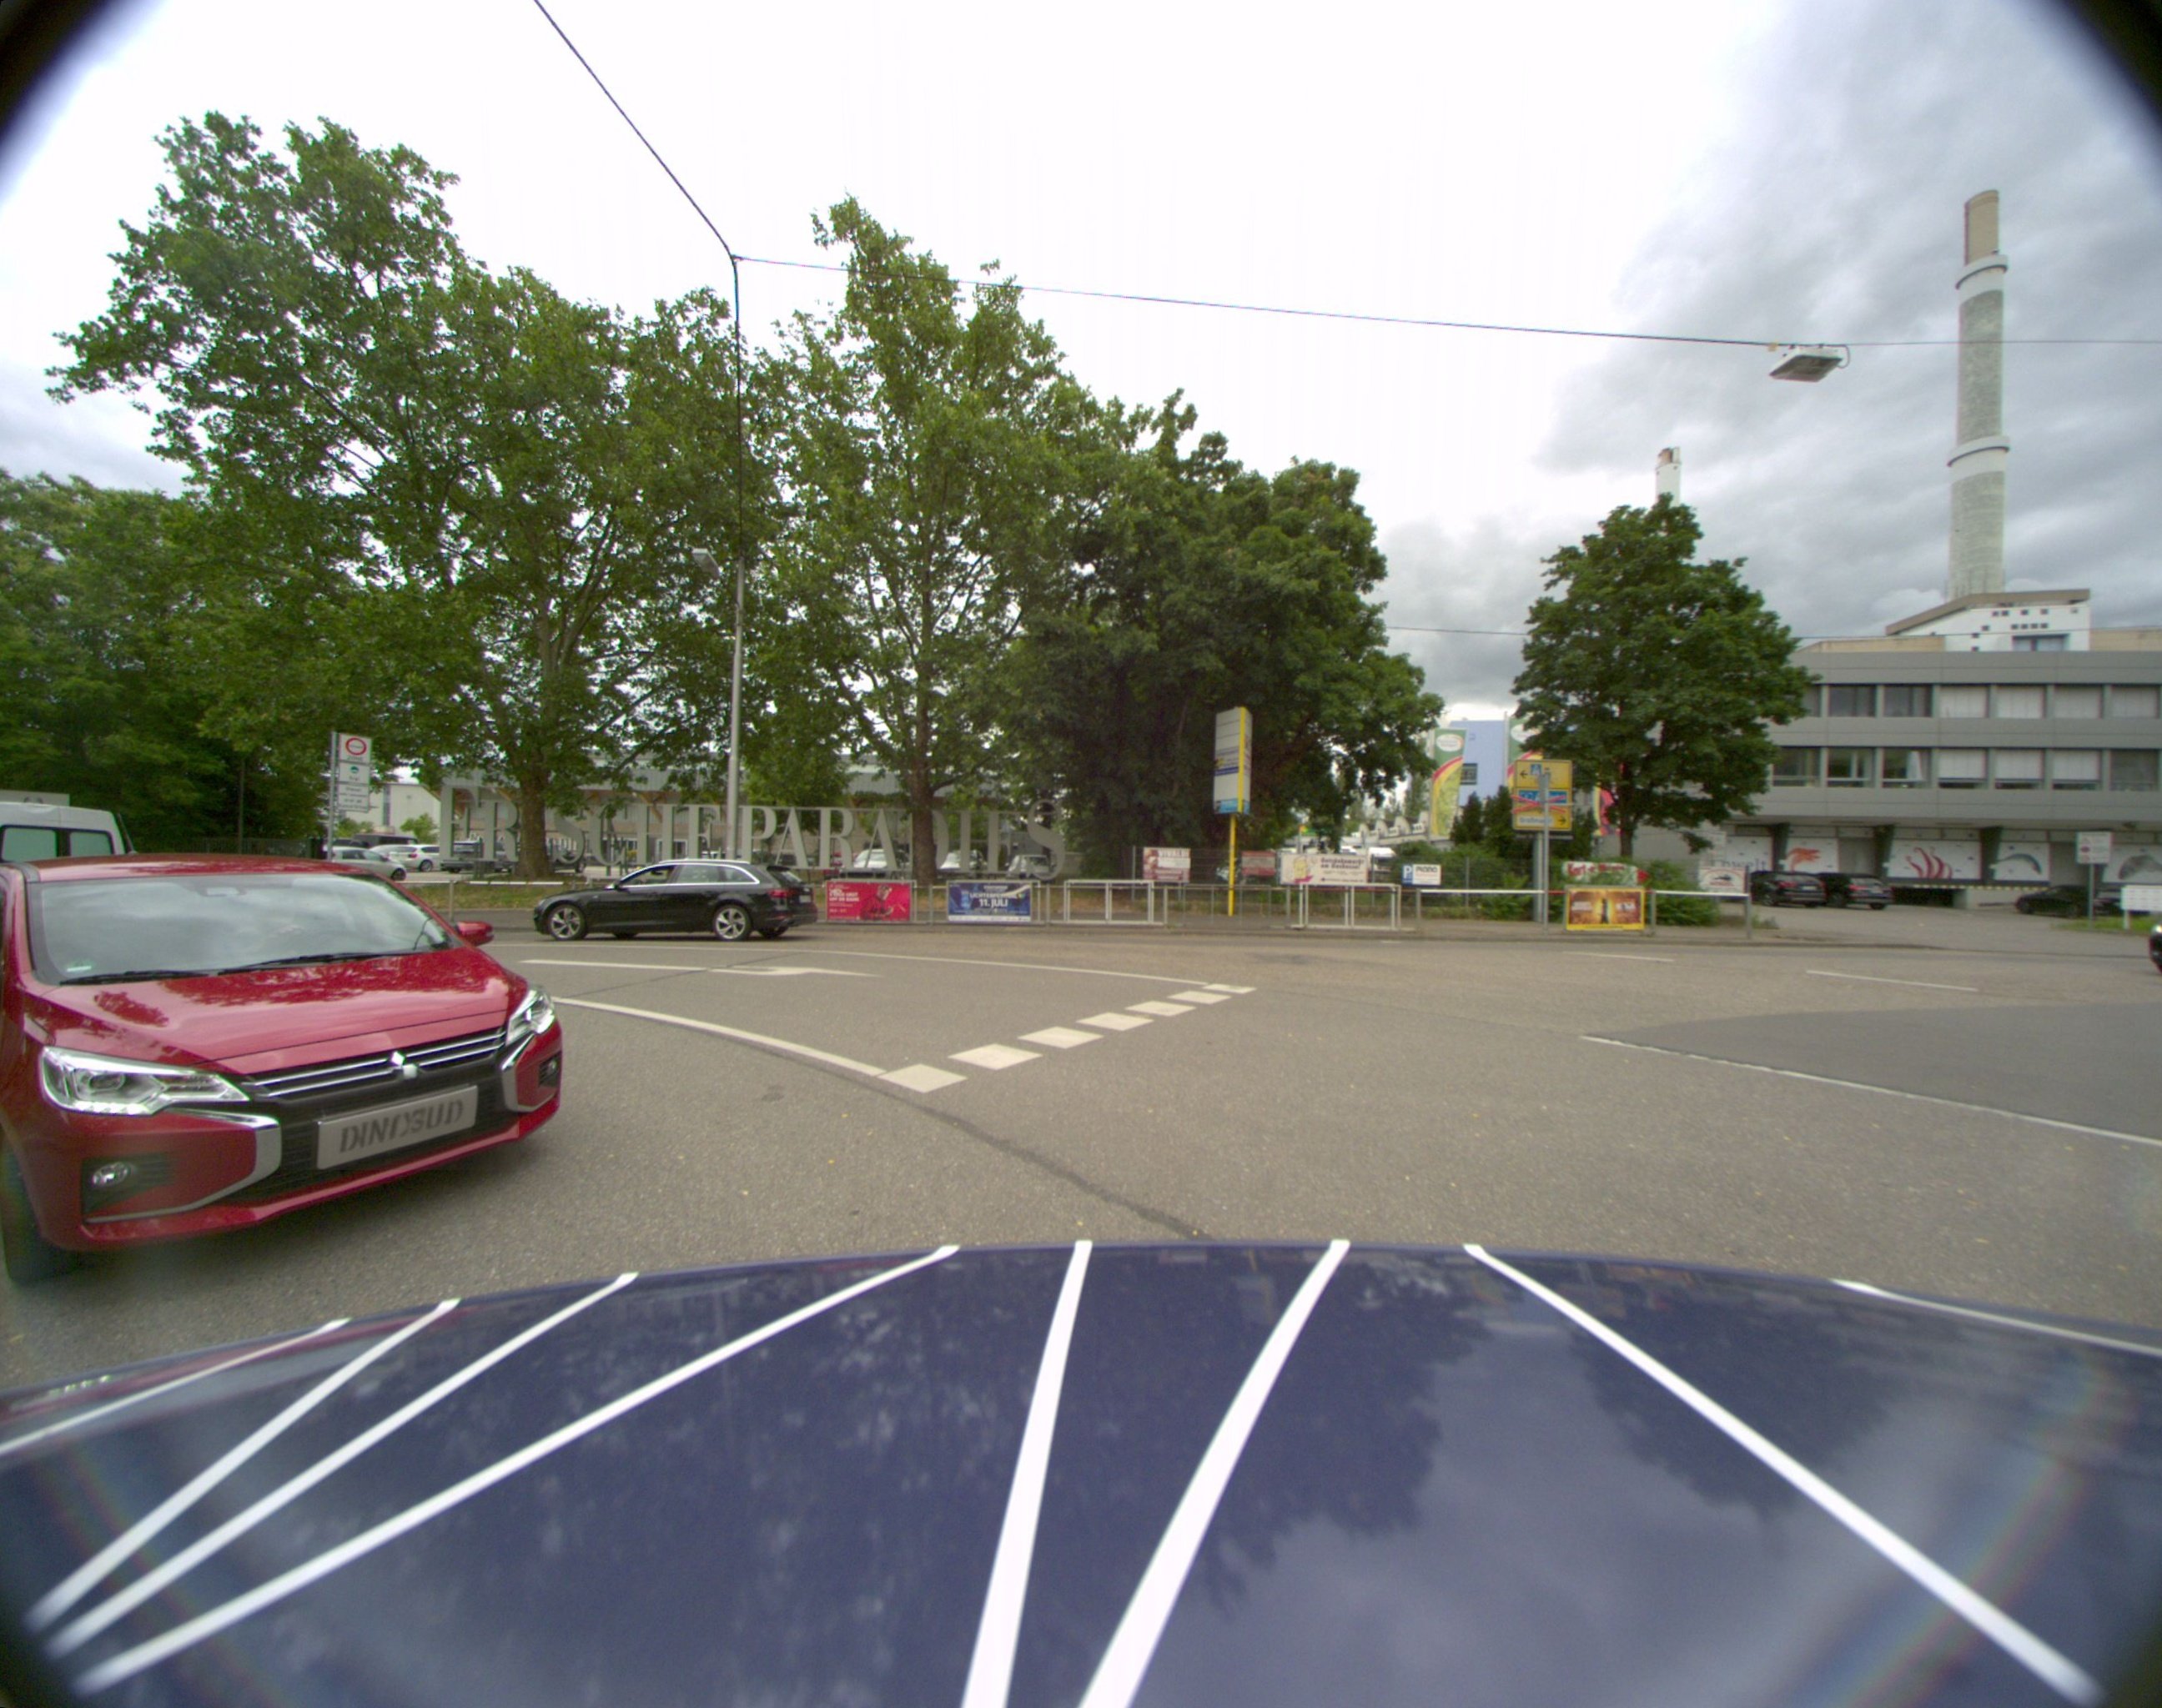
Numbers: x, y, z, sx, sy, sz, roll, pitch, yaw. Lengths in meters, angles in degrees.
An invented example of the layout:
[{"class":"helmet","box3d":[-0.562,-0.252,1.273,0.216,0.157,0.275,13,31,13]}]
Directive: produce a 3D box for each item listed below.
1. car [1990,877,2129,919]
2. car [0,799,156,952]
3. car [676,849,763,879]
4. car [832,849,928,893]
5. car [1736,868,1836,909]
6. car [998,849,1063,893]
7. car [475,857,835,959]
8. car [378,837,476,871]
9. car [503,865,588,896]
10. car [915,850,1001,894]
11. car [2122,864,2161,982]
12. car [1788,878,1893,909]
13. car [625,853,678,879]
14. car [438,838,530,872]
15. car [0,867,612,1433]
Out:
[{"class":"car","box3d":[42.979,1.879,33.509,1.747,1.543,3.612,-2,1,9]},{"class":"car","box3d":[-21.077,0.467,13.595,6.477,2.527,2.193,-2,1,3]},{"class":"car","box3d":[-19.431,0.472,41.125,1.937,1.423,5.252,-2,1,3]},{"class":"car","box3d":[-7.700,0.588,29.595,1.998,1.449,4.701,-2,1,6]},{"class":"car","box3d":[33.303,1.615,36.042,1.775,1.669,3.574,-2,1,9]},{"class":"car","box3d":[-1.854,0.589,29.477,1.998,1.449,4.700,-2,1,2]},{"class":"car","box3d":[-7.373,0.901,13.588,5.218,1.449,2.000,-2,1,0]},{"class":"car","box3d":[-35.288,0.008,41.154,1.916,1.690,3.999,2,-1,-3]},{"class":"car","box3d":[-28.850,1.390,41.098,1.916,1.499,3.999,2,-1,-3]},{"class":"car","box3d":[-4.592,0.624,29.131,1.998,1.449,4.701,-2,1,6]},{"class":"car","box3d":[18.343,1.135,11.260,4.231,1.761,1.831,3,-1,-12]},{"class":"car","box3d":[35.813,1.840,35.963,1.775,1.171,3.574,-2,1,9]},{"class":"car","box3d":[-30.157,0.782,53.445,1.753,1.674,3.570,-2,1,-2]},{"class":"car","box3d":[-31.950,0.088,40.817,1.916,1.690,3.999,2,-1,-3]},{"class":"car","box3d":[-4.310,0.860,3.714,3.730,1.521,1.771,0,1,28]}]
